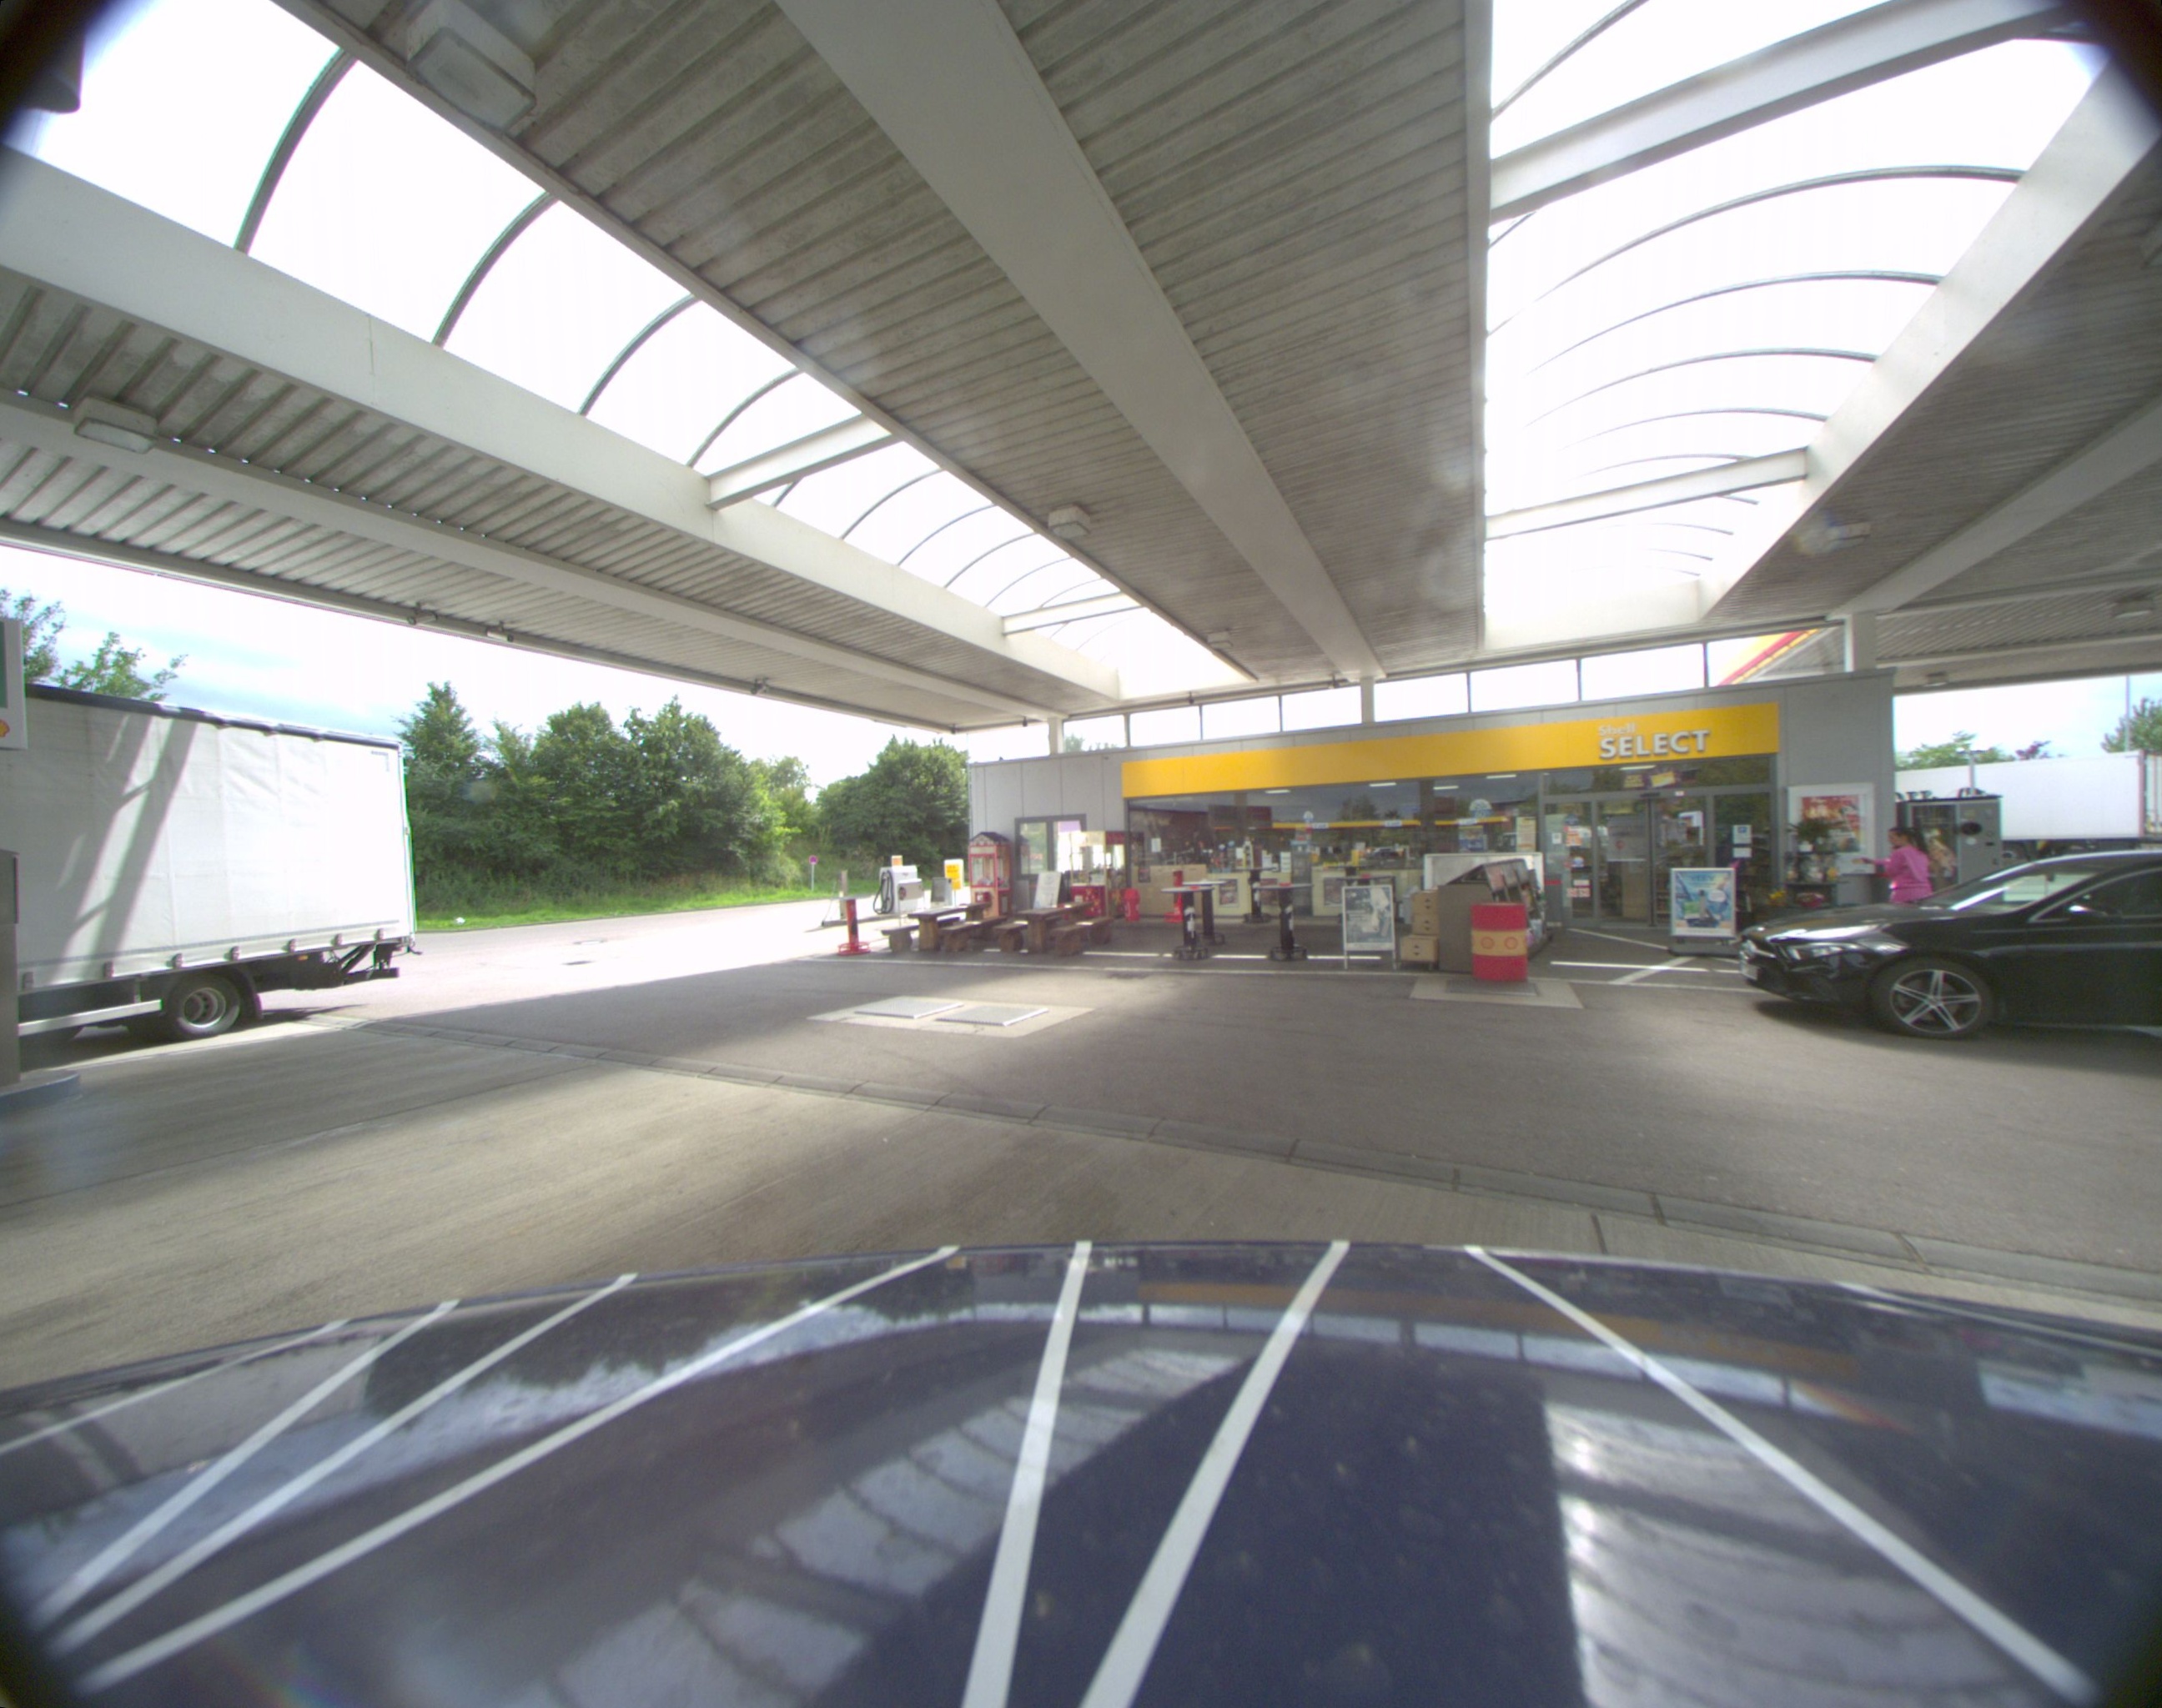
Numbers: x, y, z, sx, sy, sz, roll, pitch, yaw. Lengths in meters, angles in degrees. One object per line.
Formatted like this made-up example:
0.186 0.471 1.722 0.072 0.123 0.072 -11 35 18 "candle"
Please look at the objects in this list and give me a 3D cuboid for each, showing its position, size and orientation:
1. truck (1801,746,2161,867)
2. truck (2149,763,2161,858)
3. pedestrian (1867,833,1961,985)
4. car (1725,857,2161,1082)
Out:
35.119 -1.614 30.021 2.796 3.982 9.578 -3 1 -16 "truck"
51.468 -2.040 33.100 3.383 4.479 6.239 -2 1 29 "truck"
9.795 0.615 8.956 0.621 1.703 0.628 -1 1 37 "pedestrian"
8.149 0.811 5.938 4.461 1.491 1.782 -2 1 28 "car"
